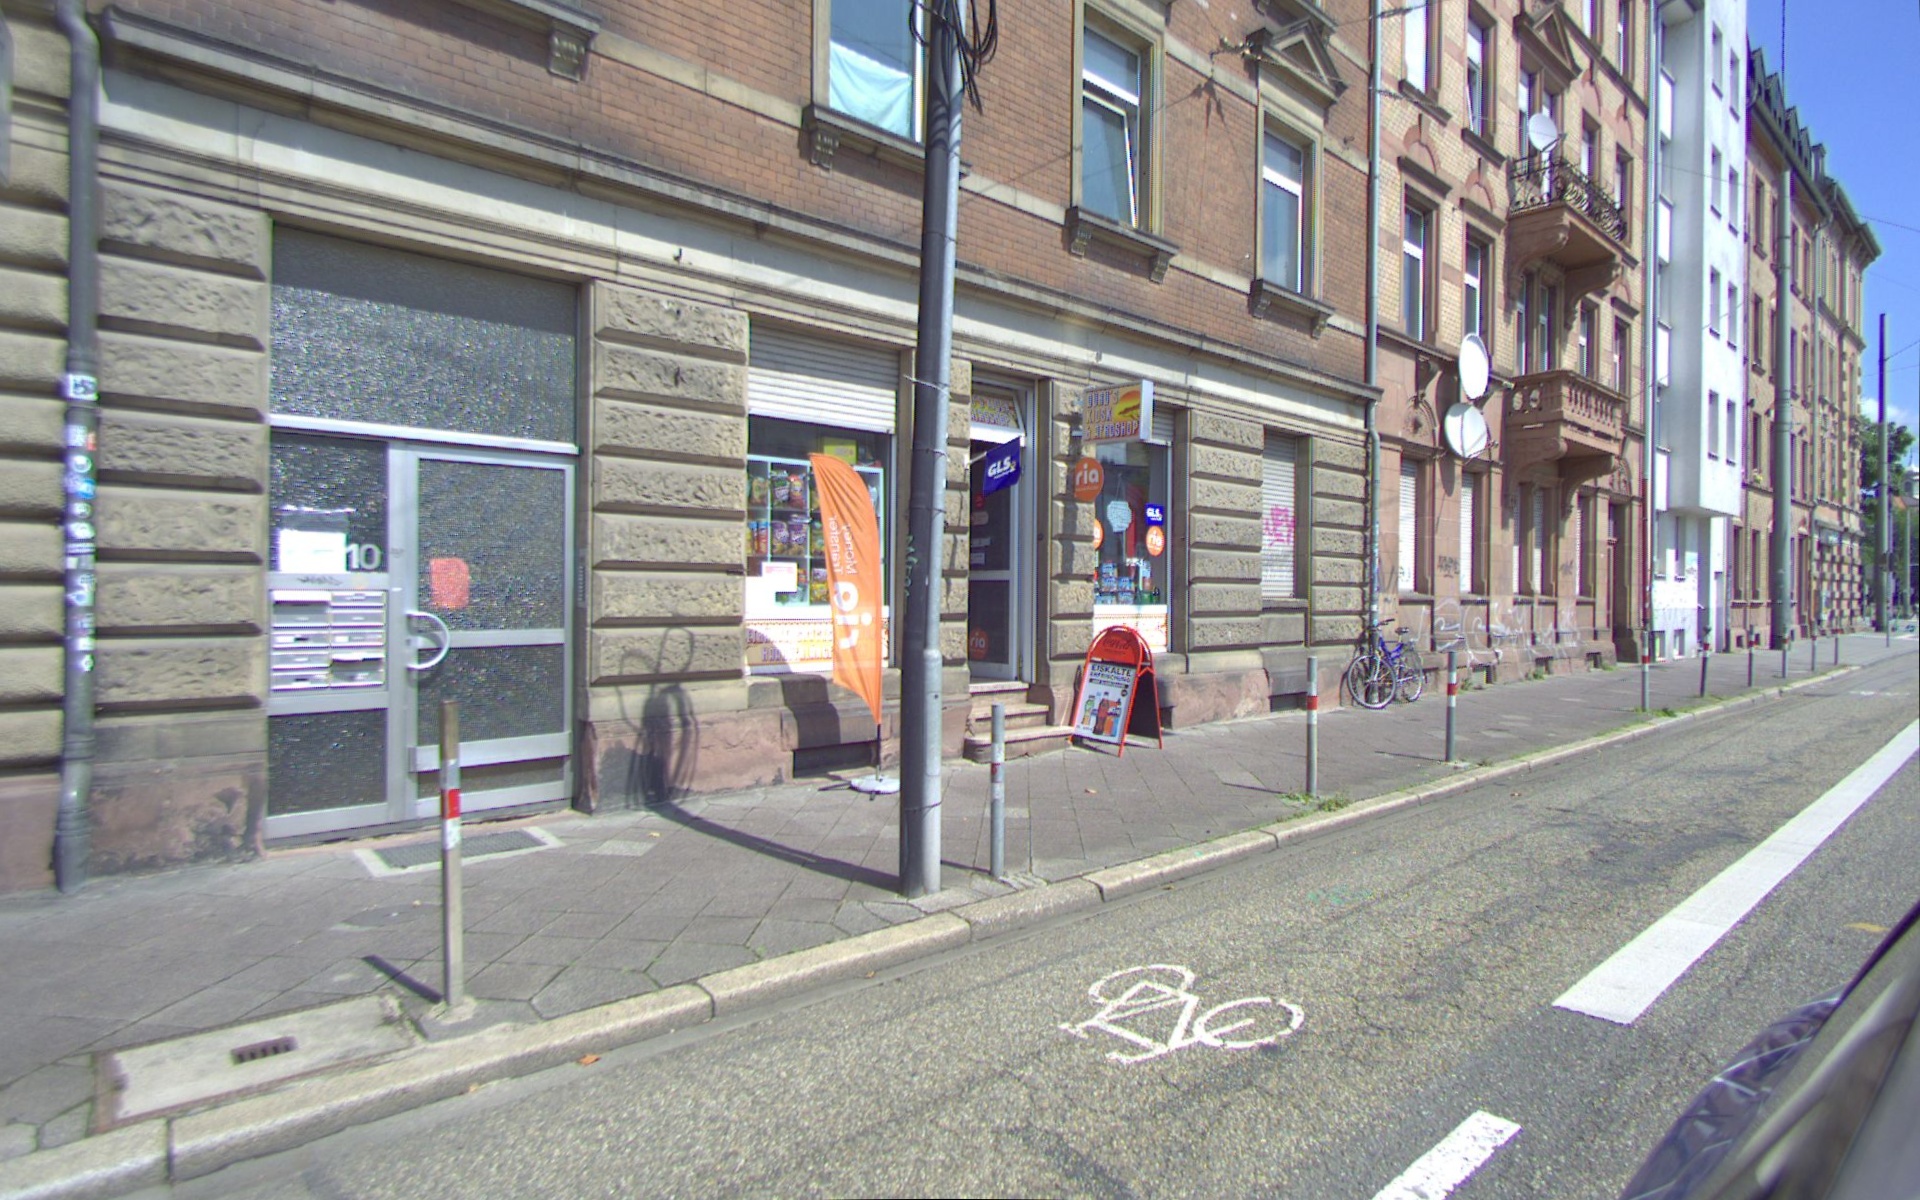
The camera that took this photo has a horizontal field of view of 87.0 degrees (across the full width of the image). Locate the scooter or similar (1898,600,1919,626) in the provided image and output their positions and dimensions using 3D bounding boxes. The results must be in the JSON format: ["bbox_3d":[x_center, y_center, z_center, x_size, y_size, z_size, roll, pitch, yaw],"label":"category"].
[{"bbox_3d":[45.364,0.615,48.053,1.065,1.194,0.951,0,2,-35],"label":"scooter or similar"}]

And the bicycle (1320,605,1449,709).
[{"bbox_3d":[5.393,0.667,12.786,2.166,1.193,0.587,0,1,-41],"label":"bicycle"}]
